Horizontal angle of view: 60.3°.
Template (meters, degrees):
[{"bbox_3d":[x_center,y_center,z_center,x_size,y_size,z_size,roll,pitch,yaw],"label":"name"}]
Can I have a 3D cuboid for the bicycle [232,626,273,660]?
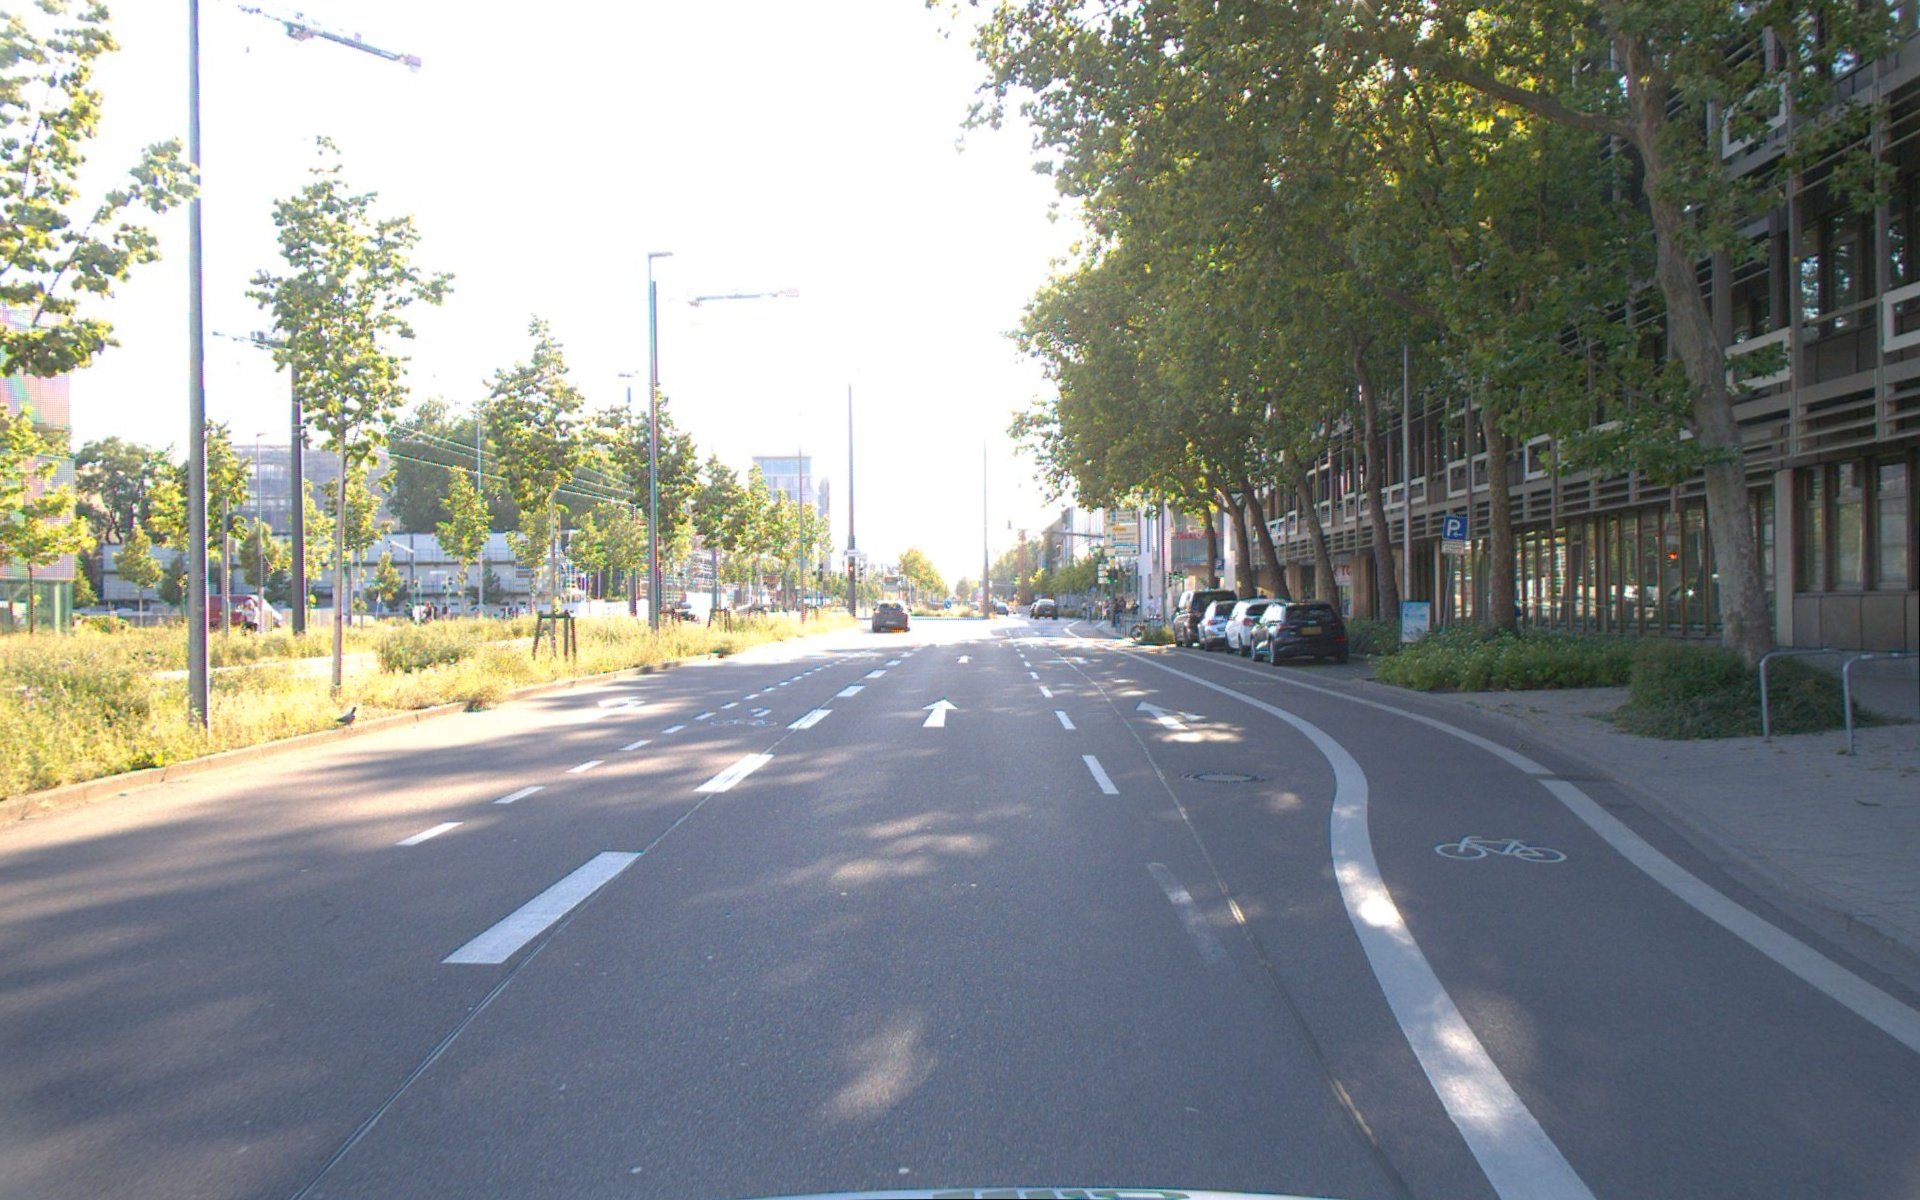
[{"bbox_3d":[-23.878,1.437,55.850,0.547,1.078,1.898,-1,0,1],"label":"bicycle"}]

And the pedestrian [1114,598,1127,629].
[{"bbox_3d":[9.168,0.793,94.732,0.621,1.732,0.570,-2,0,1],"label":"pedestrian"}]

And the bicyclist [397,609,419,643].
[{"bbox_3d":[-24.212,1.120,72.528,0.571,1.467,1.075,0,0,1],"label":"bicyclist"}]

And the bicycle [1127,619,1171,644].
[{"bbox_3d":[7.467,1.241,65.270,1.656,0.882,0.573,-2,0,9],"label":"bicycle"}]

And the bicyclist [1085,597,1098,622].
[{"bbox_3d":[8.429,0.600,105.921,0.783,1.630,0.785,-1,0,6],"label":"bicyclist"}]

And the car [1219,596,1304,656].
[{"bbox_3d":[8.203,0.684,45.284,1.647,1.504,3.874,-3,0,1],"label":"car"}]

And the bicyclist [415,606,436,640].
[{"bbox_3d":[-23.527,1.004,72.817,0.571,1.467,1.075,0,0,1],"label":"bicyclist"}]

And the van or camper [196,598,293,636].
[{"bbox_3d":[-47.940,1.120,110.956,5.542,2.456,2.155,-1,0,2],"label":"van or camper"}]

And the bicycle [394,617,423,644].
[{"bbox_3d":[-24.210,1.339,72.650,0.571,1.124,1.988,0,0,1],"label":"bicycle"}]

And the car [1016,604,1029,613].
[{"bbox_3d":[9.838,1.302,260.666,1.669,1.453,3.924,-1,0,-1],"label":"car"}]

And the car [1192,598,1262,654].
[{"bbox_3d":[8.196,0.751,51.114,1.646,1.541,5.062,-3,0,5],"label":"car"}]

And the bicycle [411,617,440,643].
[{"bbox_3d":[-23.527,1.322,72.841,0.571,1.124,1.988,0,0,1],"label":"bicycle"}]

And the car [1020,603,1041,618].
[{"bbox_3d":[7.279,1.107,170.548,1.901,1.511,3.924,-1,0,-1],"label":"car"}]

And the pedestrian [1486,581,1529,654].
[{"bbox_3d":[14.246,0.454,43.031,0.814,1.888,0.847,-1,0,0],"label":"pedestrian"}]

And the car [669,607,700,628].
[{"bbox_3d":[-23.783,1.494,143.078,1.952,1.807,4.000,-1,0,0],"label":"car"}]

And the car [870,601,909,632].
[{"bbox_3d":[-3.350,0.761,79.254,1.740,1.453,3.999,0,0,-1],"label":"car"}]

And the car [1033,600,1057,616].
[{"bbox_3d":[7.708,0.712,150.084,1.901,1.453,3.924,-1,0,-1],"label":"car"}]

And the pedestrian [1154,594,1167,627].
[{"bbox_3d":[13.082,0.671,107.999,0.750,2.096,0.797,-2,0,7],"label":"pedestrian"}]

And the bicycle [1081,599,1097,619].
[{"bbox_3d":[8.257,0.556,105.931,0.782,1.225,2.266,-1,0,11],"label":"bicycle"}]

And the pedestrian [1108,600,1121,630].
[{"bbox_3d":[8.778,0.847,93.982,0.621,1.636,0.570,-2,0,1],"label":"pedestrian"}]

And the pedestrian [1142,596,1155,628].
[{"bbox_3d":[12.393,0.776,108.864,0.750,2.096,0.797,-2,0,7],"label":"pedestrian"}]

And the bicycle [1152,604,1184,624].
[{"bbox_3d":[11.780,0.791,93.670,1.766,1.105,0.479,-2,0,2],"label":"bicycle"}]

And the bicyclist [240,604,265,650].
[{"bbox_3d":[-23.888,0.919,55.866,0.545,1.533,0.668,-1,0,1],"label":"bicyclist"}]

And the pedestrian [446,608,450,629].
[{"bbox_3d":[-36.417,1.337,117.596,0.269,1.490,0.314,0,0,-20],"label":"pedestrian"}]

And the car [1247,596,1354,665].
[{"bbox_3d":[7.942,0.676,38.913,1.671,1.443,4.277,-3,0,1],"label":"car"}]

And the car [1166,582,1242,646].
[{"bbox_3d":[8.356,0.470,57.016,1.792,2.005,5.322,-3,0,1],"label":"car"}]

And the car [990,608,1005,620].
[{"bbox_3d":[4.692,1.741,207.493,1.723,1.511,3.849,-1,0,-1],"label":"car"}]
